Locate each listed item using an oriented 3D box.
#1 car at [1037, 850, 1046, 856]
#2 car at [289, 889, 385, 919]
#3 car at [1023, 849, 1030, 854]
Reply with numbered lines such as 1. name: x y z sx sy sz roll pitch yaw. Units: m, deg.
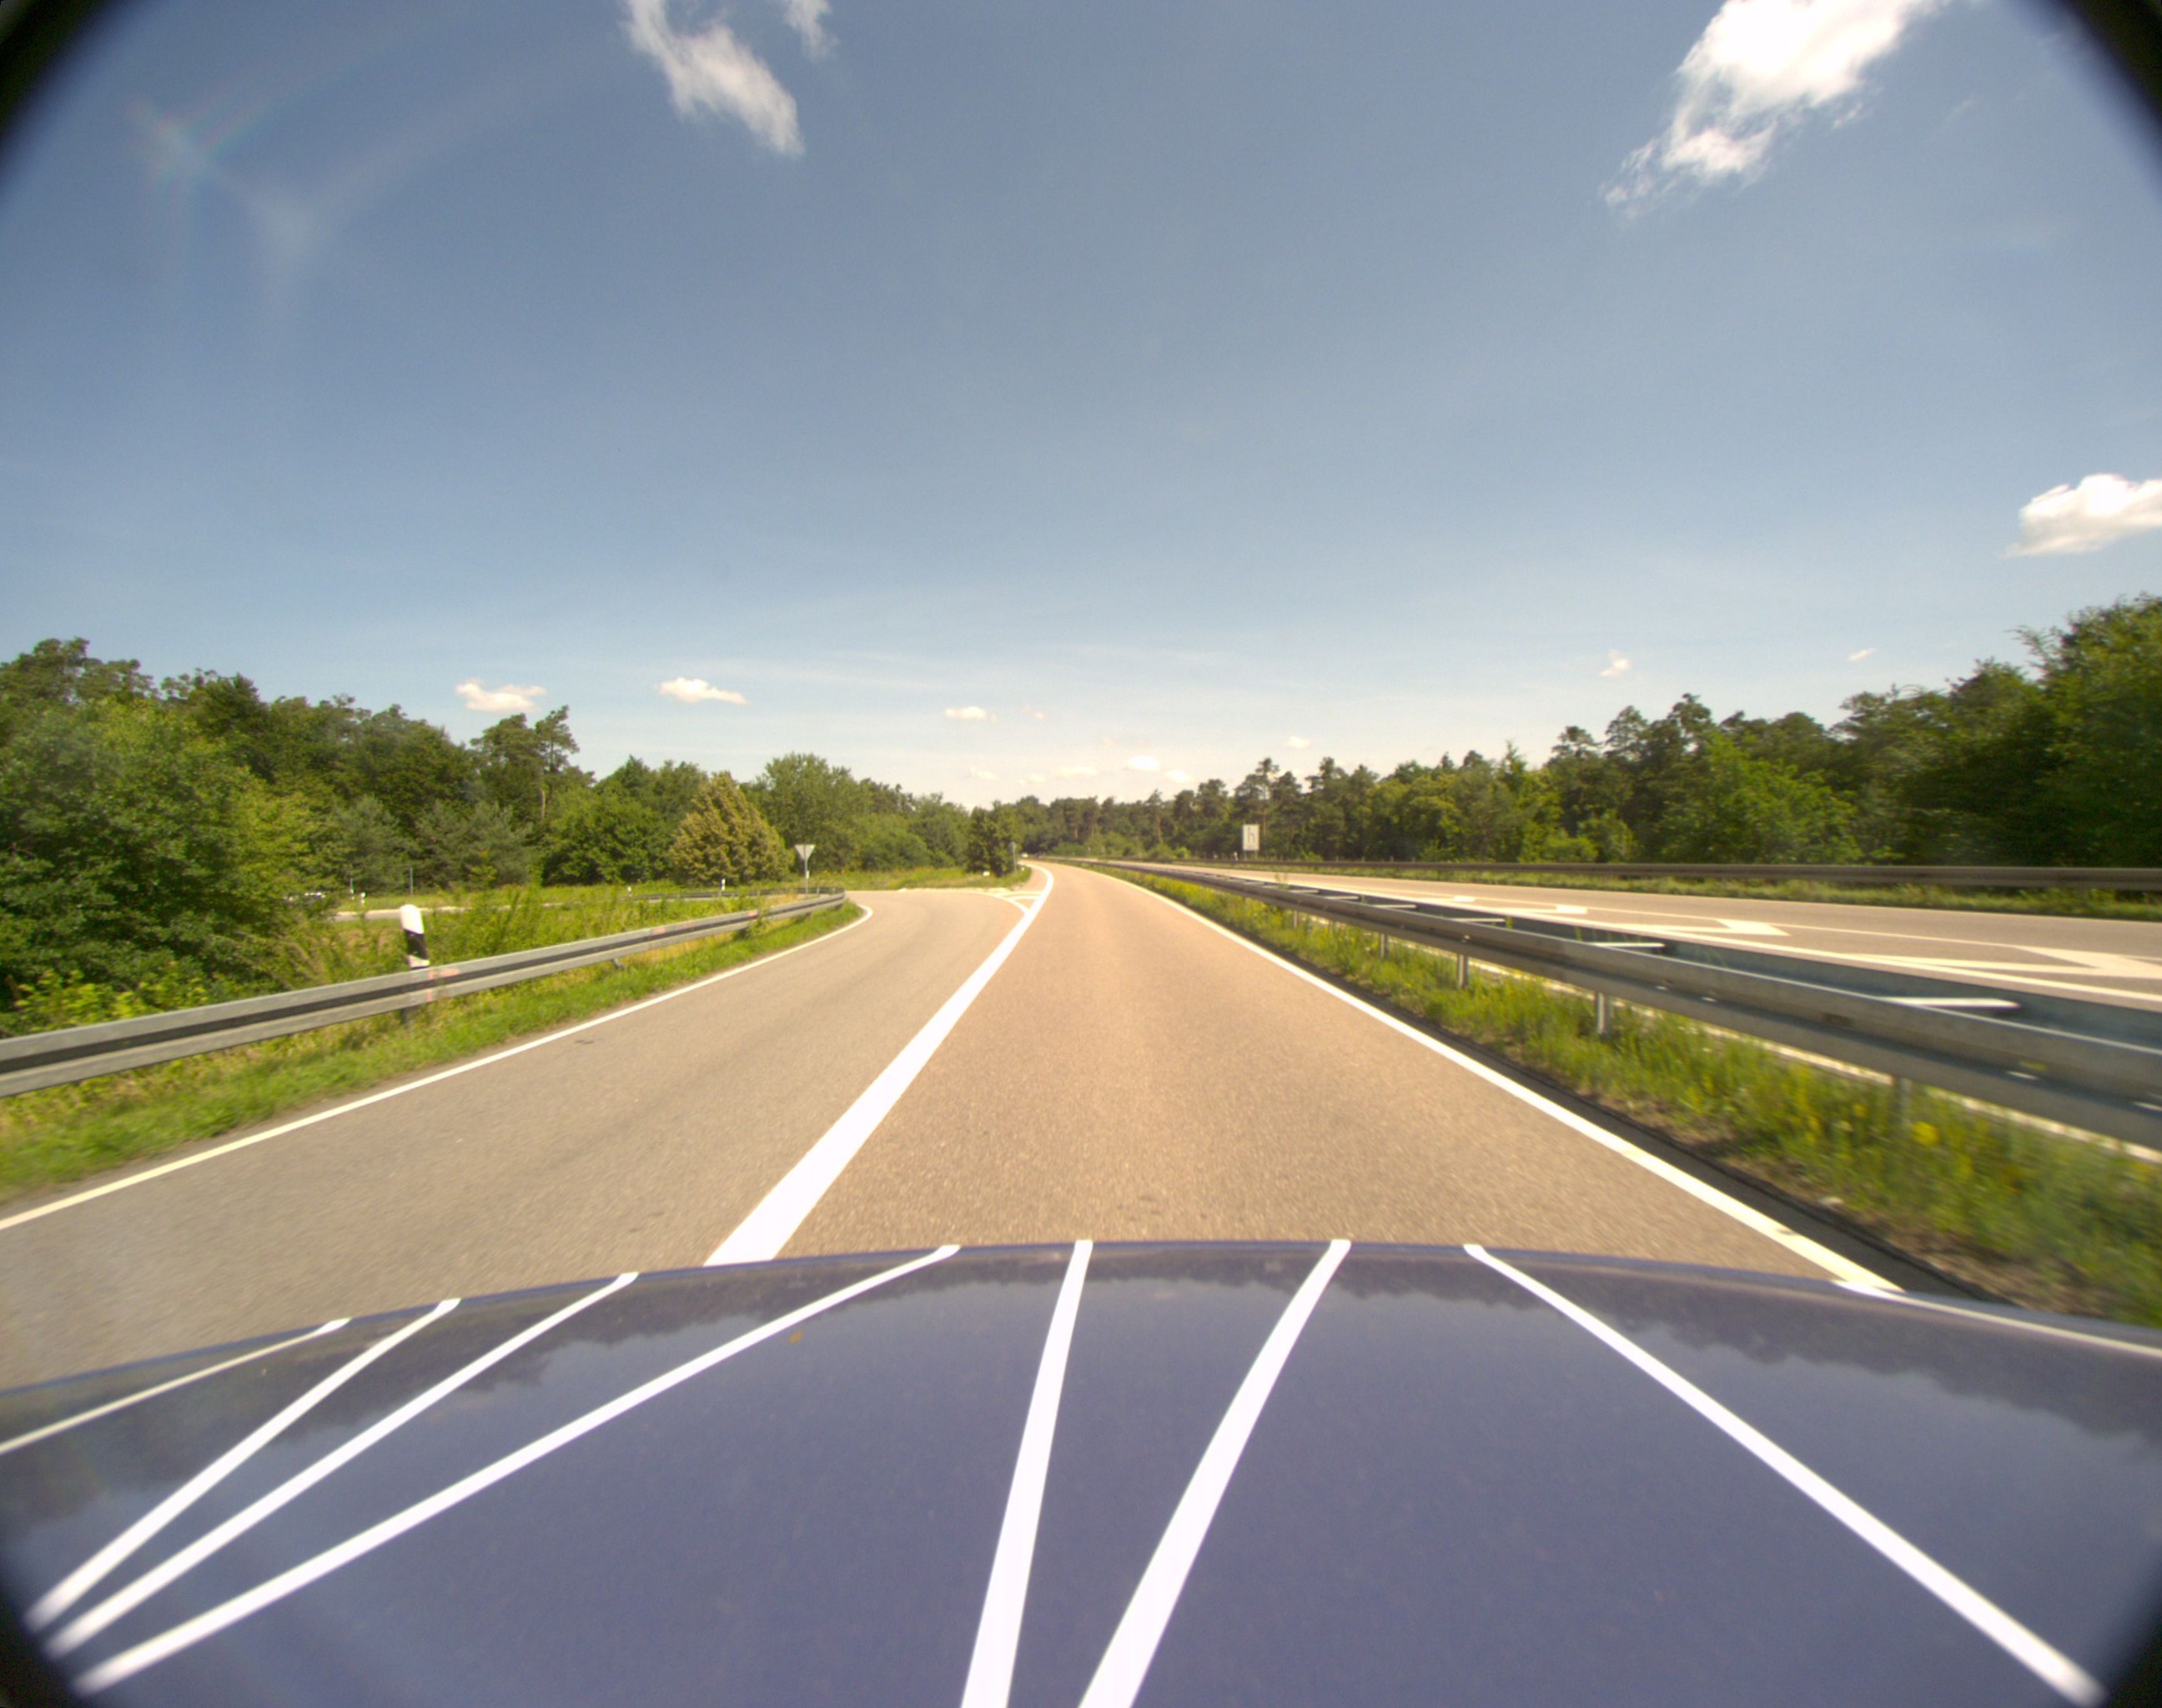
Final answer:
1. car: -10.005 -0.249 193.163 1.761 1.492 4.570 -3 1 -7
2. car: -52.997 3.533 54.189 1.895 1.656 4.674 -3 1 42
3. car: -15.475 -0.783 216.378 1.799 1.436 4.603 -2 1 -7
